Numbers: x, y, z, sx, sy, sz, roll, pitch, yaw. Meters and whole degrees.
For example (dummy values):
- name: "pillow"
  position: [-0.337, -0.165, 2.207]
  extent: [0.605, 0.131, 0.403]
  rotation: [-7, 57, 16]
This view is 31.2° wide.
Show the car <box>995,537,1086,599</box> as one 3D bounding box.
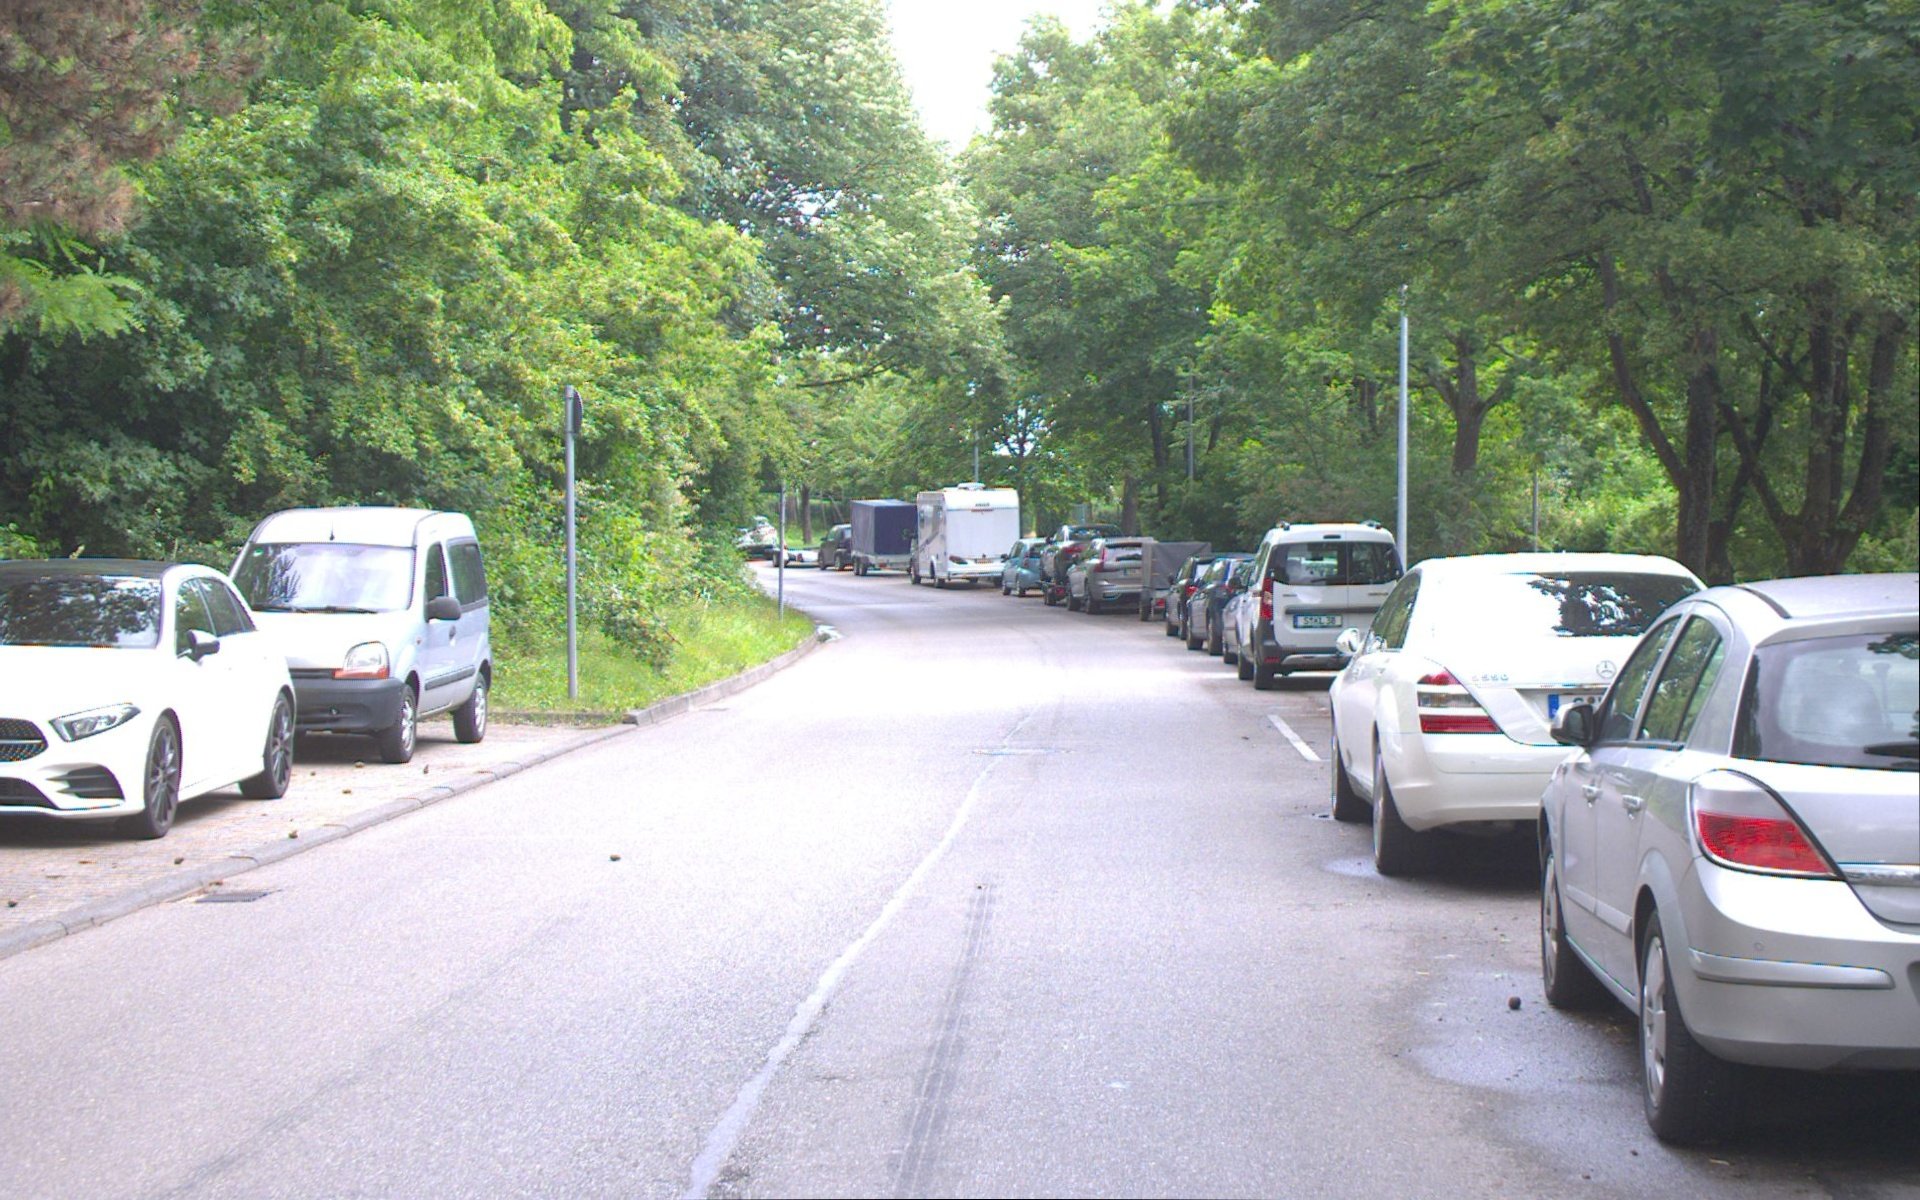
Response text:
- name: "car"
  position: [2.091, -0.862, 90.607]
  extent: [1.799, 1.556, 3.836]
  rotation: [-1, 2, -8]

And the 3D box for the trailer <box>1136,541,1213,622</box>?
- name: "trailer"
  position: [4.286, -0.380, 68.766]
  extent: [1.278, 1.579, 2.461]
  rotation: [0, 1, -2]

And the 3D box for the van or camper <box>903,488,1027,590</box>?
- name: "van or camper"
  position: [0.097, -1.799, 101.053]
  extent: [2.481, 2.866, 6.892]
  rotation: [0, 1, -10]

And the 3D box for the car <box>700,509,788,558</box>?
- name: "car"
  position: [-8.164, -2.519, 129.706]
  extent: [2.034, 1.797, 4.084]
  rotation: [-1, 2, -23]

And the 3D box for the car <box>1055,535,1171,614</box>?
- name: "car"
  position: [3.305, -0.533, 74.966]
  extent: [1.791, 1.664, 4.503]
  rotation: [0, 0, -7]

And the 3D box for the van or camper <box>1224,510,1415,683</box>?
- name: "van or camper"
  position: [4.006, -0.021, 38.897]
  extent: [1.802, 1.831, 4.320]
  rotation: [0, -1, 1]

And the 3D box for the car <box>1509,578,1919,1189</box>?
- name: "car"
  position: [2.717, 0.653, 10.070]
  extent: [1.793, 1.406, 4.059]
  rotation: [0, 1, 3]

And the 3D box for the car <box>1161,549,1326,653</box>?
- name: "car"
  position: [4.174, -0.018, 51.261]
  extent: [1.847, 1.469, 4.479]
  rotation: [0, 1, -3]

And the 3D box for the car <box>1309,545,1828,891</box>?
- name: "car"
  position: [2.902, 0.471, 17.511]
  extent: [1.886, 1.501, 5.176]
  rotation: [0, 1, 2]

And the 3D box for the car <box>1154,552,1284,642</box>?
- name: "car"
  position: [4.342, -0.081, 58.059]
  extent: [1.720, 1.448, 3.918]
  rotation: [0, 1, -3]

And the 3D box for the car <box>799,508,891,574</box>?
- name: "car"
  position: [-3.924, -2.017, 116.958]
  extent: [1.993, 2.019, 4.002]
  rotation: [-3, 4, -18]

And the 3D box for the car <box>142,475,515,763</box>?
- name: "car"
  position: [-4.618, 0.075, 25.734]
  extent: [1.721, 1.915, 4.104]
  rotation: [2, 2, 4]

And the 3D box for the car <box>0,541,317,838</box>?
- name: "car"
  position: [-4.960, 0.402, 19.142]
  extent: [1.805, 1.398, 4.372]
  rotation: [2, 1, 1]

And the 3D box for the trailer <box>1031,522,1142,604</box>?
- name: "trailer"
  position: [2.951, -0.913, 81.422]
  extent: [1.978, 1.805, 5.150]
  rotation: [-1, 2, -5]

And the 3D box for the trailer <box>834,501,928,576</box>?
- name: "trailer"
  position: [-2.585, -2.000, 111.603]
  extent: [1.993, 2.390, 4.001]
  rotation: [0, 1, -18]

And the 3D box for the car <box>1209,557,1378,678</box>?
- name: "car"
  position: [4.284, 0.187, 44.708]
  extent: [1.813, 1.432, 4.242]
  rotation: [1, 1, 1]
